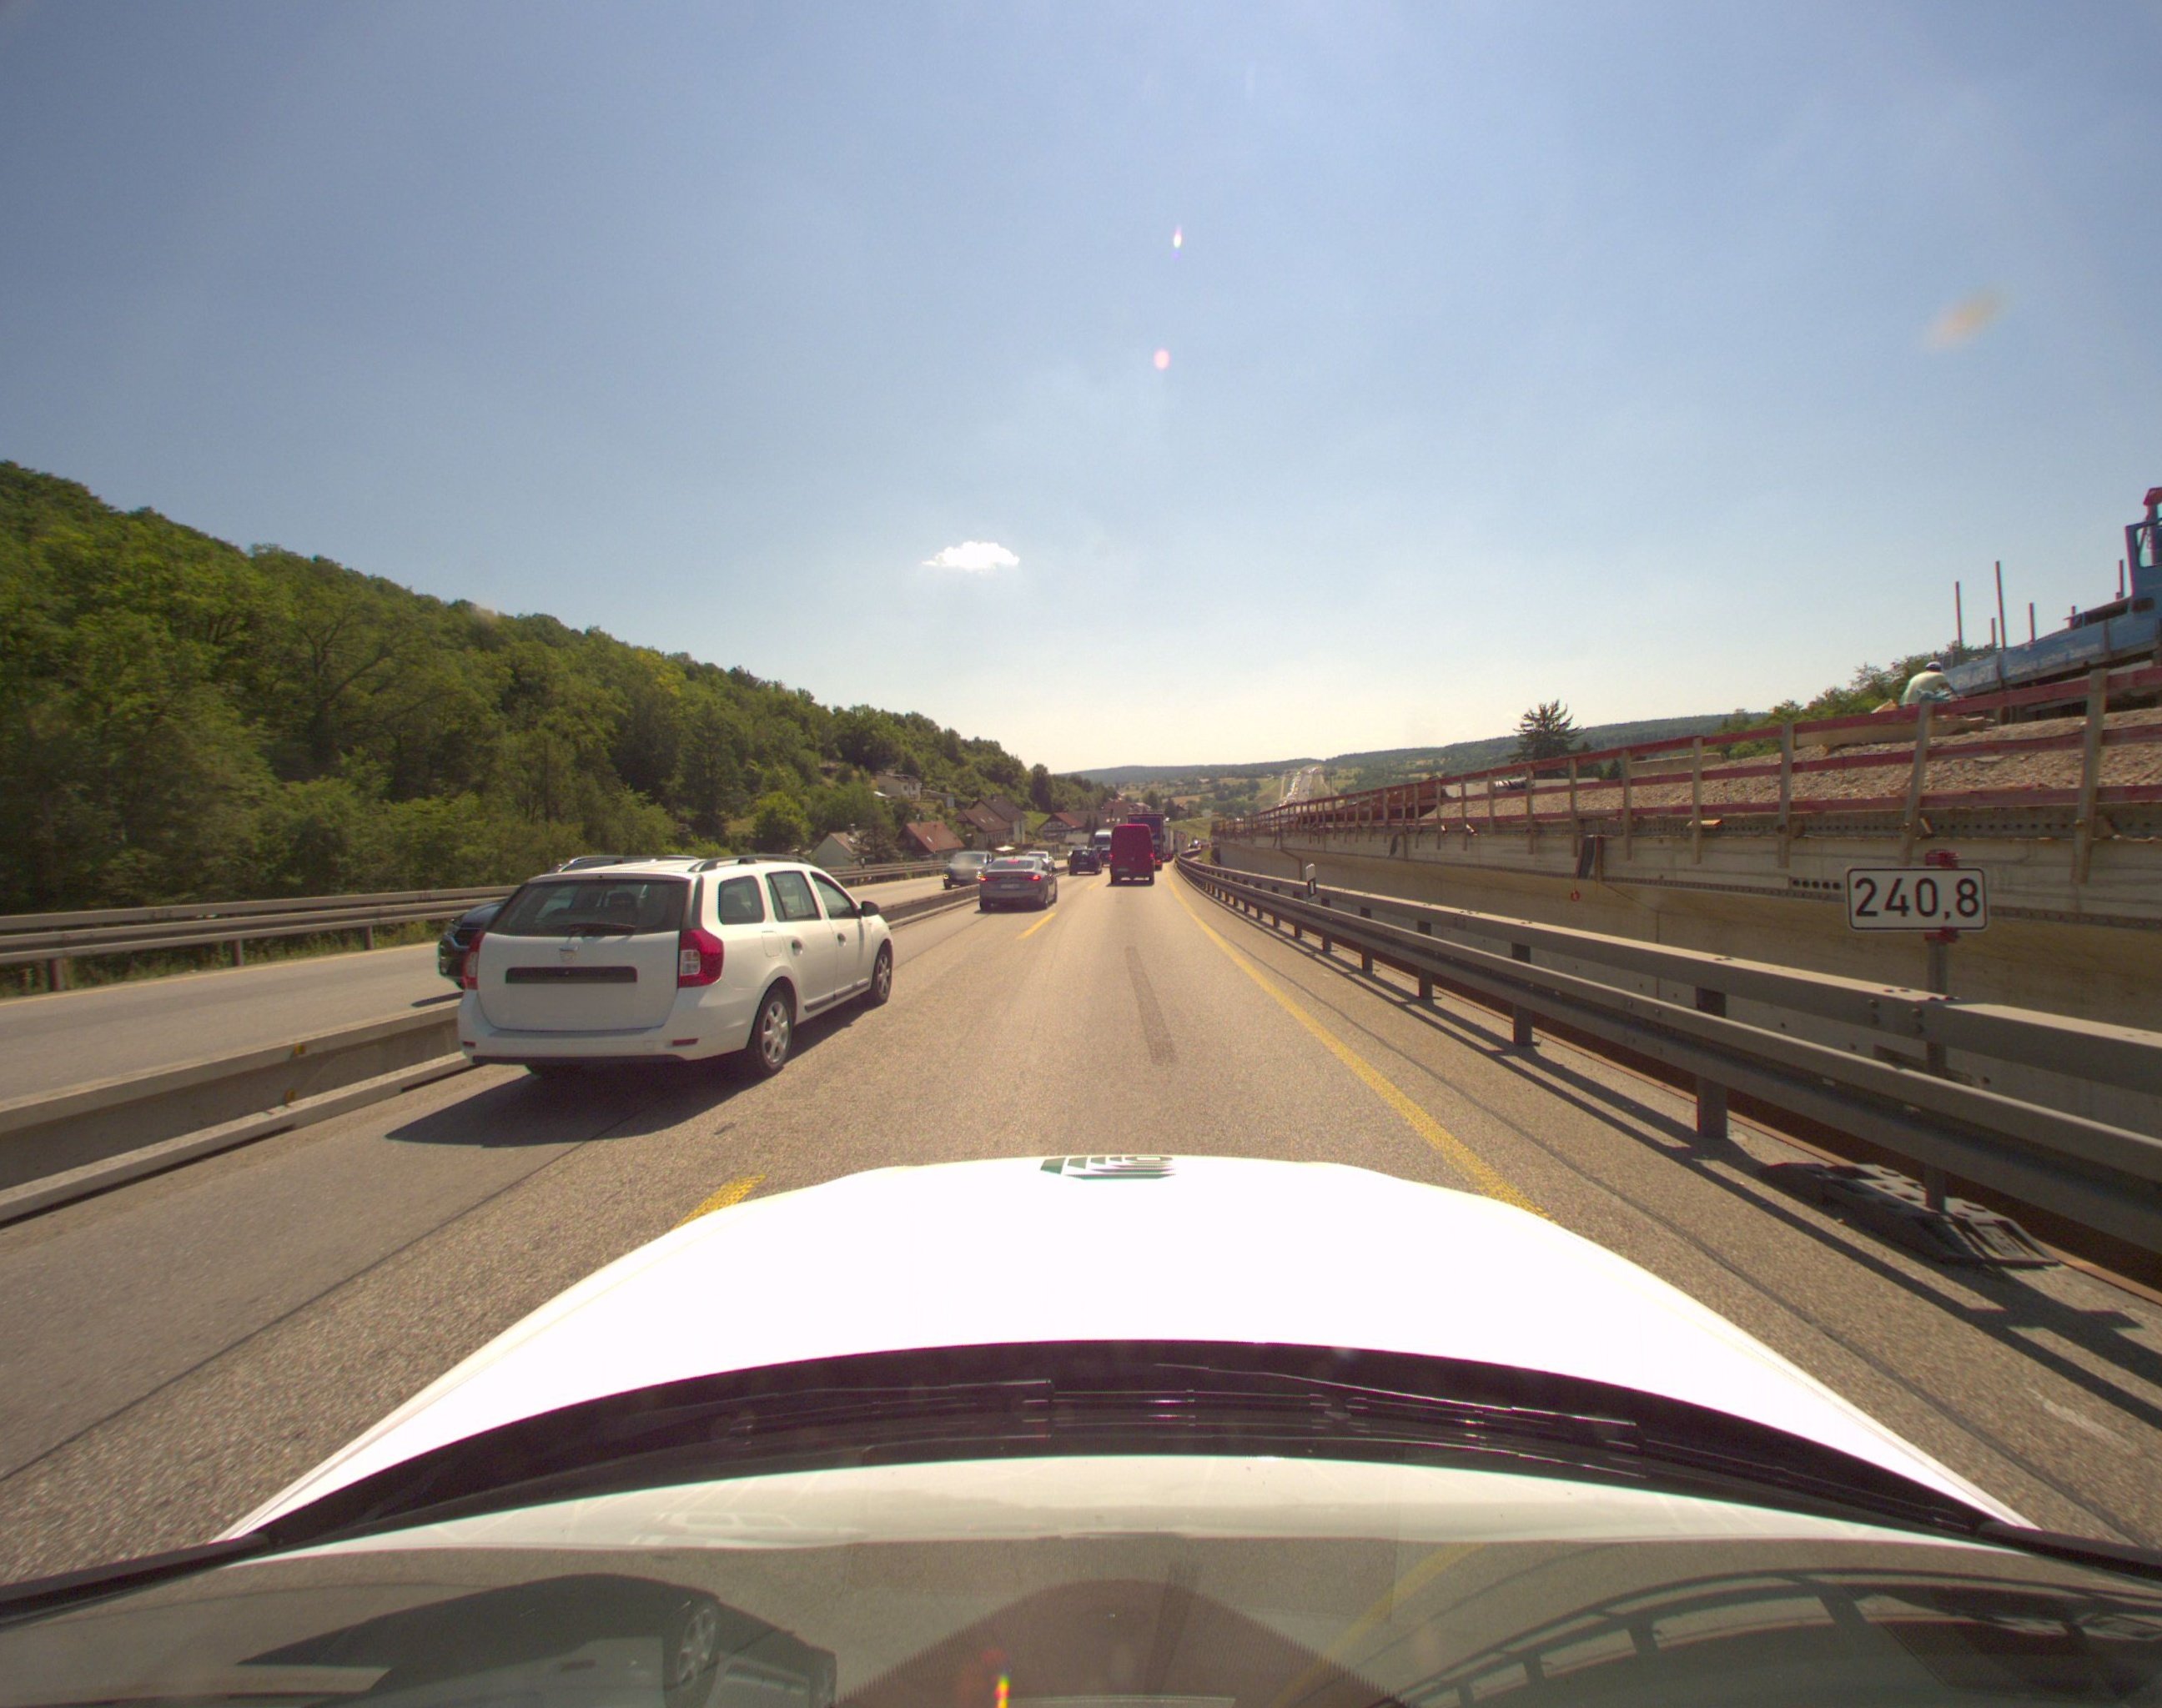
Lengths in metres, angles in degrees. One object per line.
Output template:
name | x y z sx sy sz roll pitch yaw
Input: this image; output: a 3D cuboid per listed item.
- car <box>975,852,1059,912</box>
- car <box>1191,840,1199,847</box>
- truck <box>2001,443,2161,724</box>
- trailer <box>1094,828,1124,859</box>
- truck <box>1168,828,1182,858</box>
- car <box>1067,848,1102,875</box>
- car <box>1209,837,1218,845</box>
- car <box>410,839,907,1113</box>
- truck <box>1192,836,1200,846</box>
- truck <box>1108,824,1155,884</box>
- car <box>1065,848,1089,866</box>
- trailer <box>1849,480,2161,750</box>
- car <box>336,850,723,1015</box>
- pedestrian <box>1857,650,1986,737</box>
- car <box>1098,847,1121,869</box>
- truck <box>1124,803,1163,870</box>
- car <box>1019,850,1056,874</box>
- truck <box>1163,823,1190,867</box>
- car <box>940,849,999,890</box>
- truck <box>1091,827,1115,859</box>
car | -1.674 0.713 22.675 1.787 1.485 4.052 -1 0 3
car | 29.232 -2.683 208.641 1.790 2.013 4.015 0 1 14
truck | 17.463 -4.200 12.320 2.686 3.693 5.746 -1 2 26
trailer | 4.662 -1.576 131.993 3.046 4.815 14.036 0 -1 9
truck | 14.315 -1.625 123.465 1.982 4.381 4.008 0 -1 8
car | 0.263 0.438 50.255 1.801 1.608 3.725 0 -1 6
car | 36.275 -3.535 222.989 2.116 2.014 4.015 0 -1 14
car | -2.858 0.708 6.736 1.645 1.483 4.270 -3 -1 3
truck | 19.471 -2.228 138.204 1.307 1.542 3.159 0 -1 9
truck | 2.359 0.026 37.034 1.984 2.578 4.006 0 -1 6
car | -0.331 0.244 78.757 1.903 1.705 4.742 0 0 4
trailer | 19.811 -4.430 17.172 2.686 3.693 9.051 -1 3 26
car | -6.105 0.753 9.717 1.722 1.551 4.038 0 0 2
pedestrian | 13.302 -2.514 12.933 1.014 1.151 0.997 0 -1 8
car | 2.429 0.336 68.961 1.721 1.838 4.004 0 -1 4
truck | 4.852 -1.197 62.958 2.773 4.816 9.697 0 -1 5
car | -2.889 0.511 54.460 1.903 1.486 4.482 0 0 4
truck | 10.972 -0.949 94.066 2.773 4.816 9.697 0 -1 5
car | -4.684 0.606 34.743 1.731 1.641 4.005 0 0 4
truck | 3.373 -1.637 124.287 3.041 4.821 4.659 0 -1 10
